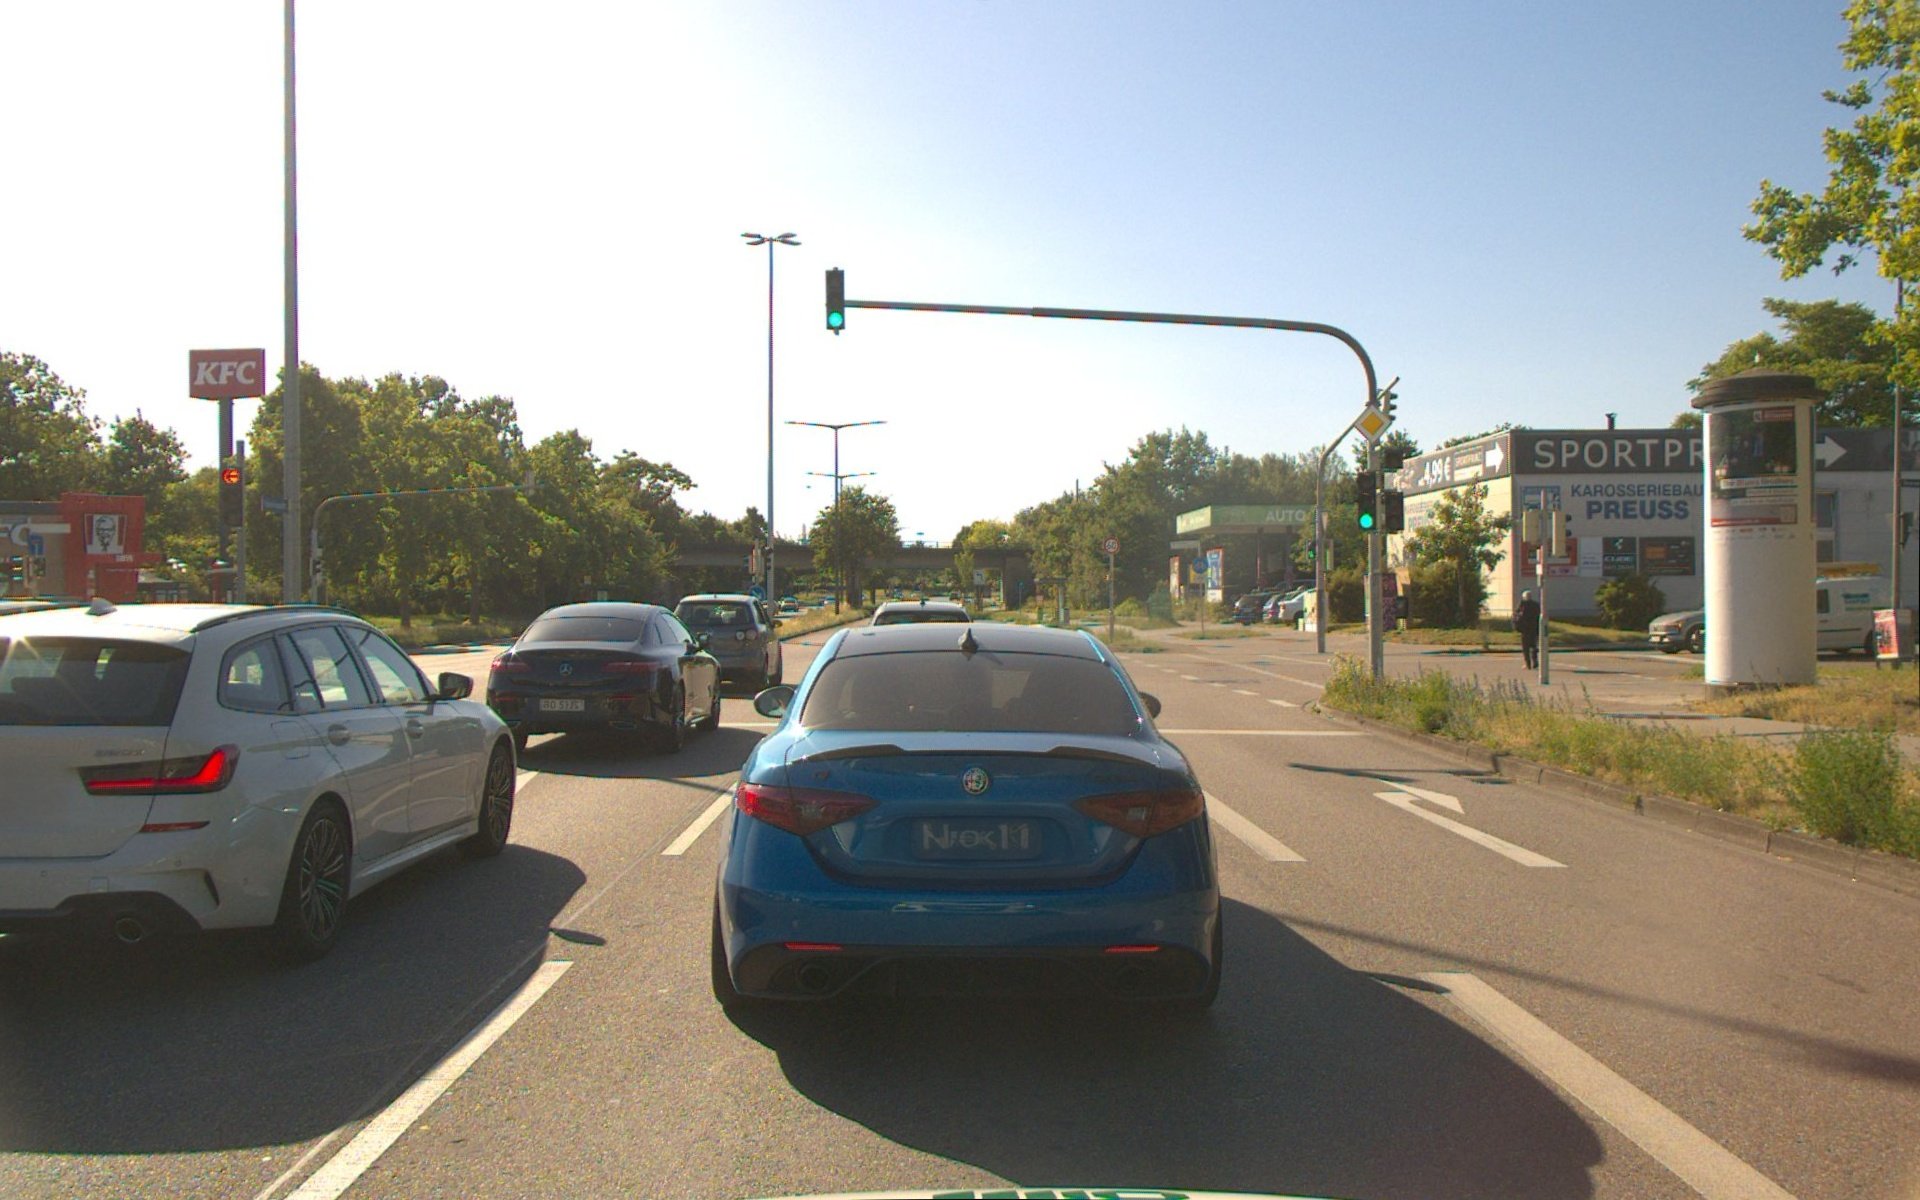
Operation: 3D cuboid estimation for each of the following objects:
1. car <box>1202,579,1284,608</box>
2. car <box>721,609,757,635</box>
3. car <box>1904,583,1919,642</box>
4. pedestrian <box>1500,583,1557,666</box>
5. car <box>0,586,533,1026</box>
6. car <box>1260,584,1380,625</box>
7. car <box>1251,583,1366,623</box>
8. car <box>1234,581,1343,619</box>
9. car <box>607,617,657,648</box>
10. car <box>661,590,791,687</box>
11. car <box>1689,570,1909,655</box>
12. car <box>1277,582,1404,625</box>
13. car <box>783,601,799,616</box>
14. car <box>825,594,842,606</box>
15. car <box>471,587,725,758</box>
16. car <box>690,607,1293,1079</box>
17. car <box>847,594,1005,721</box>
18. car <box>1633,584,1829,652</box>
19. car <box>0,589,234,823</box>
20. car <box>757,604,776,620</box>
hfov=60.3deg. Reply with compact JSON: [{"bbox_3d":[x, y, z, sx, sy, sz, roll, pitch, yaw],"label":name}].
[{"bbox_3d":[16.497,-0.383,96.407,4.457,1.516,1.765,-2,0,1],"label":"car"},{"bbox_3d":[-13.660,1.369,102.463,1.723,1.516,3.836,-2,0,-1],"label":"car"},{"bbox_3d":[26.777,0.266,42.533,3.960,1.516,1.782,-2,0,-3],"label":"car"},{"bbox_3d":[12.375,0.523,36.025,0.906,1.766,0.938,1,-1,-1],"label":"pedestrian"},{"bbox_3d":[-3.442,0.734,7.933,1.749,1.516,4.401,1,-1,-2],"label":"car"},{"bbox_3d":[14.495,0.181,66.751,4.397,1.479,1.858,-2,0,1],"label":"car"},{"bbox_3d":[14.631,0.121,69.586,4.397,1.479,1.858,-2,0,1],"label":"car"},{"bbox_3d":[14.474,0.000,72.982,4.397,1.479,1.858,-2,0,1],"label":"car"},{"bbox_3d":[-17.279,1.672,87.269,1.723,1.516,4.477,-2,0,-1],"label":"car"},{"bbox_3d":[-3.937,0.635,28.493,1.723,1.516,4.401,1,-1,-2],"label":"car"},{"bbox_3d":[19.635,0.270,38.827,4.293,1.833,1.764,-1,1,-2],"label":"car"},{"bbox_3d":[14.543,0.137,63.391,4.397,1.479,1.858,-2,0,1],"label":"car"},{"bbox_3d":[-19.286,0.977,188.783,1.577,1.675,3.462,1,-1,-1],"label":"car"},{"bbox_3d":[-15.734,0.006,205.618,1.723,1.516,4.477,-2,0,-1],"label":"car"},{"bbox_3d":[-3.585,0.677,17.176,1.760,1.516,4.474,1,-1,-2],"label":"car"},{"bbox_3d":[0.038,0.784,7.347,1.857,1.443,4.401,1,-1,-2],"label":"car"},{"bbox_3d":[-0.463,0.687,21.378,1.813,1.443,4.401,1,-1,-2],"label":"car"},{"bbox_3d":[19.604,0.430,42.161,4.201,1.576,1.764,-1,1,-2],"label":"car"},{"bbox_3d":[-7.139,0.690,12.274,1.723,1.516,4.195,1,-1,-2],"label":"car"},{"bbox_3d":[-19.721,1.228,168.831,1.583,1.587,3.357,1,-1,-1],"label":"car"}]
